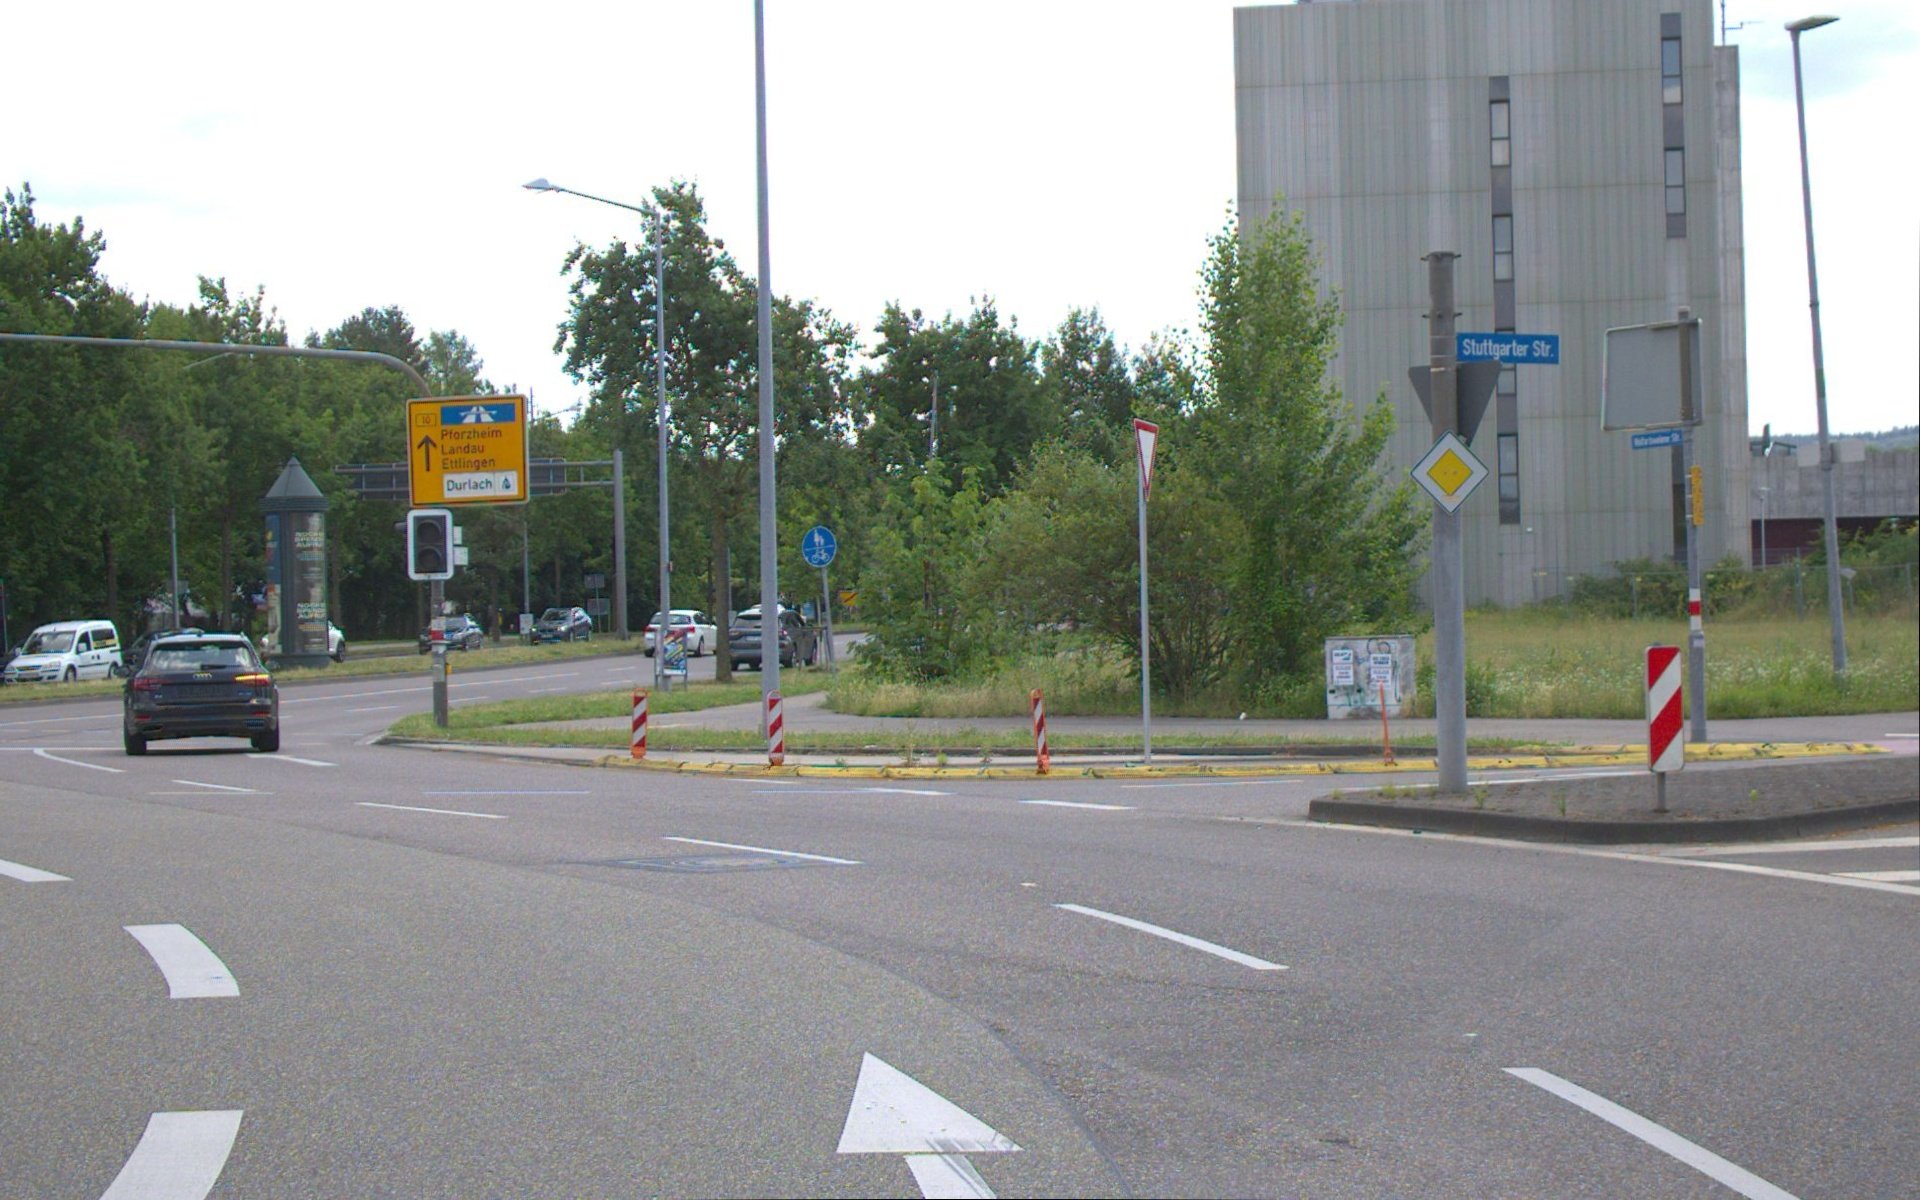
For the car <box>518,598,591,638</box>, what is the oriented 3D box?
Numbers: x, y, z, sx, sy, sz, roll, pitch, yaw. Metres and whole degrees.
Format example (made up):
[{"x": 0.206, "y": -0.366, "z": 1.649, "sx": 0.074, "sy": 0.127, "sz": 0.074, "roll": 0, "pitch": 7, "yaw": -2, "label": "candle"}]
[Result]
[{"x": -17.069, "y": 0.732, "z": 144.846, "sx": 1.764, "sy": 1.572, "sz": 5.030, "roll": -2, "pitch": 0, "yaw": 8, "label": "car"}]

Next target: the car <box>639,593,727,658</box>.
[{"x": -8.617, "y": 0.783, "z": 107.146, "sx": 1.994, "sy": 2.007, "sz": 3.999, "roll": 0, "pitch": 0, "yaw": 6, "label": "car"}]

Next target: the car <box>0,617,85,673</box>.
[{"x": -25.829, "y": 1.258, "z": 93.927, "sx": 1.839, "sy": 1.438, "sz": 4.416, "roll": -3, "pitch": -1, "yaw": 13, "label": "car"}]

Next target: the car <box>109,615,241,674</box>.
[{"x": -21.562, "y": 1.198, "z": 94.593, "sx": 1.838, "sy": 1.475, "sz": 4.751, "roll": -3, "pitch": -1, "yaw": 9, "label": "car"}]

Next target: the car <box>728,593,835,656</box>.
[{"x": -4.828, "y": 0.649, "z": 93.610, "sx": 1.994, "sy": 1.620, "sz": 4.307, "roll": -1, "pitch": 0, "yaw": 10, "label": "car"}]

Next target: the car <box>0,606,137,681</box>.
[{"x": -22.872, "y": 1.092, "z": 87.745, "sx": 1.838, "sy": 1.793, "sz": 4.786, "roll": -3, "pitch": -1, "yaw": 10, "label": "car"}]

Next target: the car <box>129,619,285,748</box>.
[{"x": -9.059, "y": 0.968, "z": 41.567, "sx": 1.683, "sy": 1.458, "sz": 4.001, "roll": 0, "pitch": 0, "yaw": -10, "label": "car"}]

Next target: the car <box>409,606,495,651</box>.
[{"x": -18.941, "y": 1.041, "z": 128.301, "sx": 1.723, "sy": 1.585, "sz": 5.011, "roll": -2, "pitch": 0, "yaw": 9, "label": "car"}]
